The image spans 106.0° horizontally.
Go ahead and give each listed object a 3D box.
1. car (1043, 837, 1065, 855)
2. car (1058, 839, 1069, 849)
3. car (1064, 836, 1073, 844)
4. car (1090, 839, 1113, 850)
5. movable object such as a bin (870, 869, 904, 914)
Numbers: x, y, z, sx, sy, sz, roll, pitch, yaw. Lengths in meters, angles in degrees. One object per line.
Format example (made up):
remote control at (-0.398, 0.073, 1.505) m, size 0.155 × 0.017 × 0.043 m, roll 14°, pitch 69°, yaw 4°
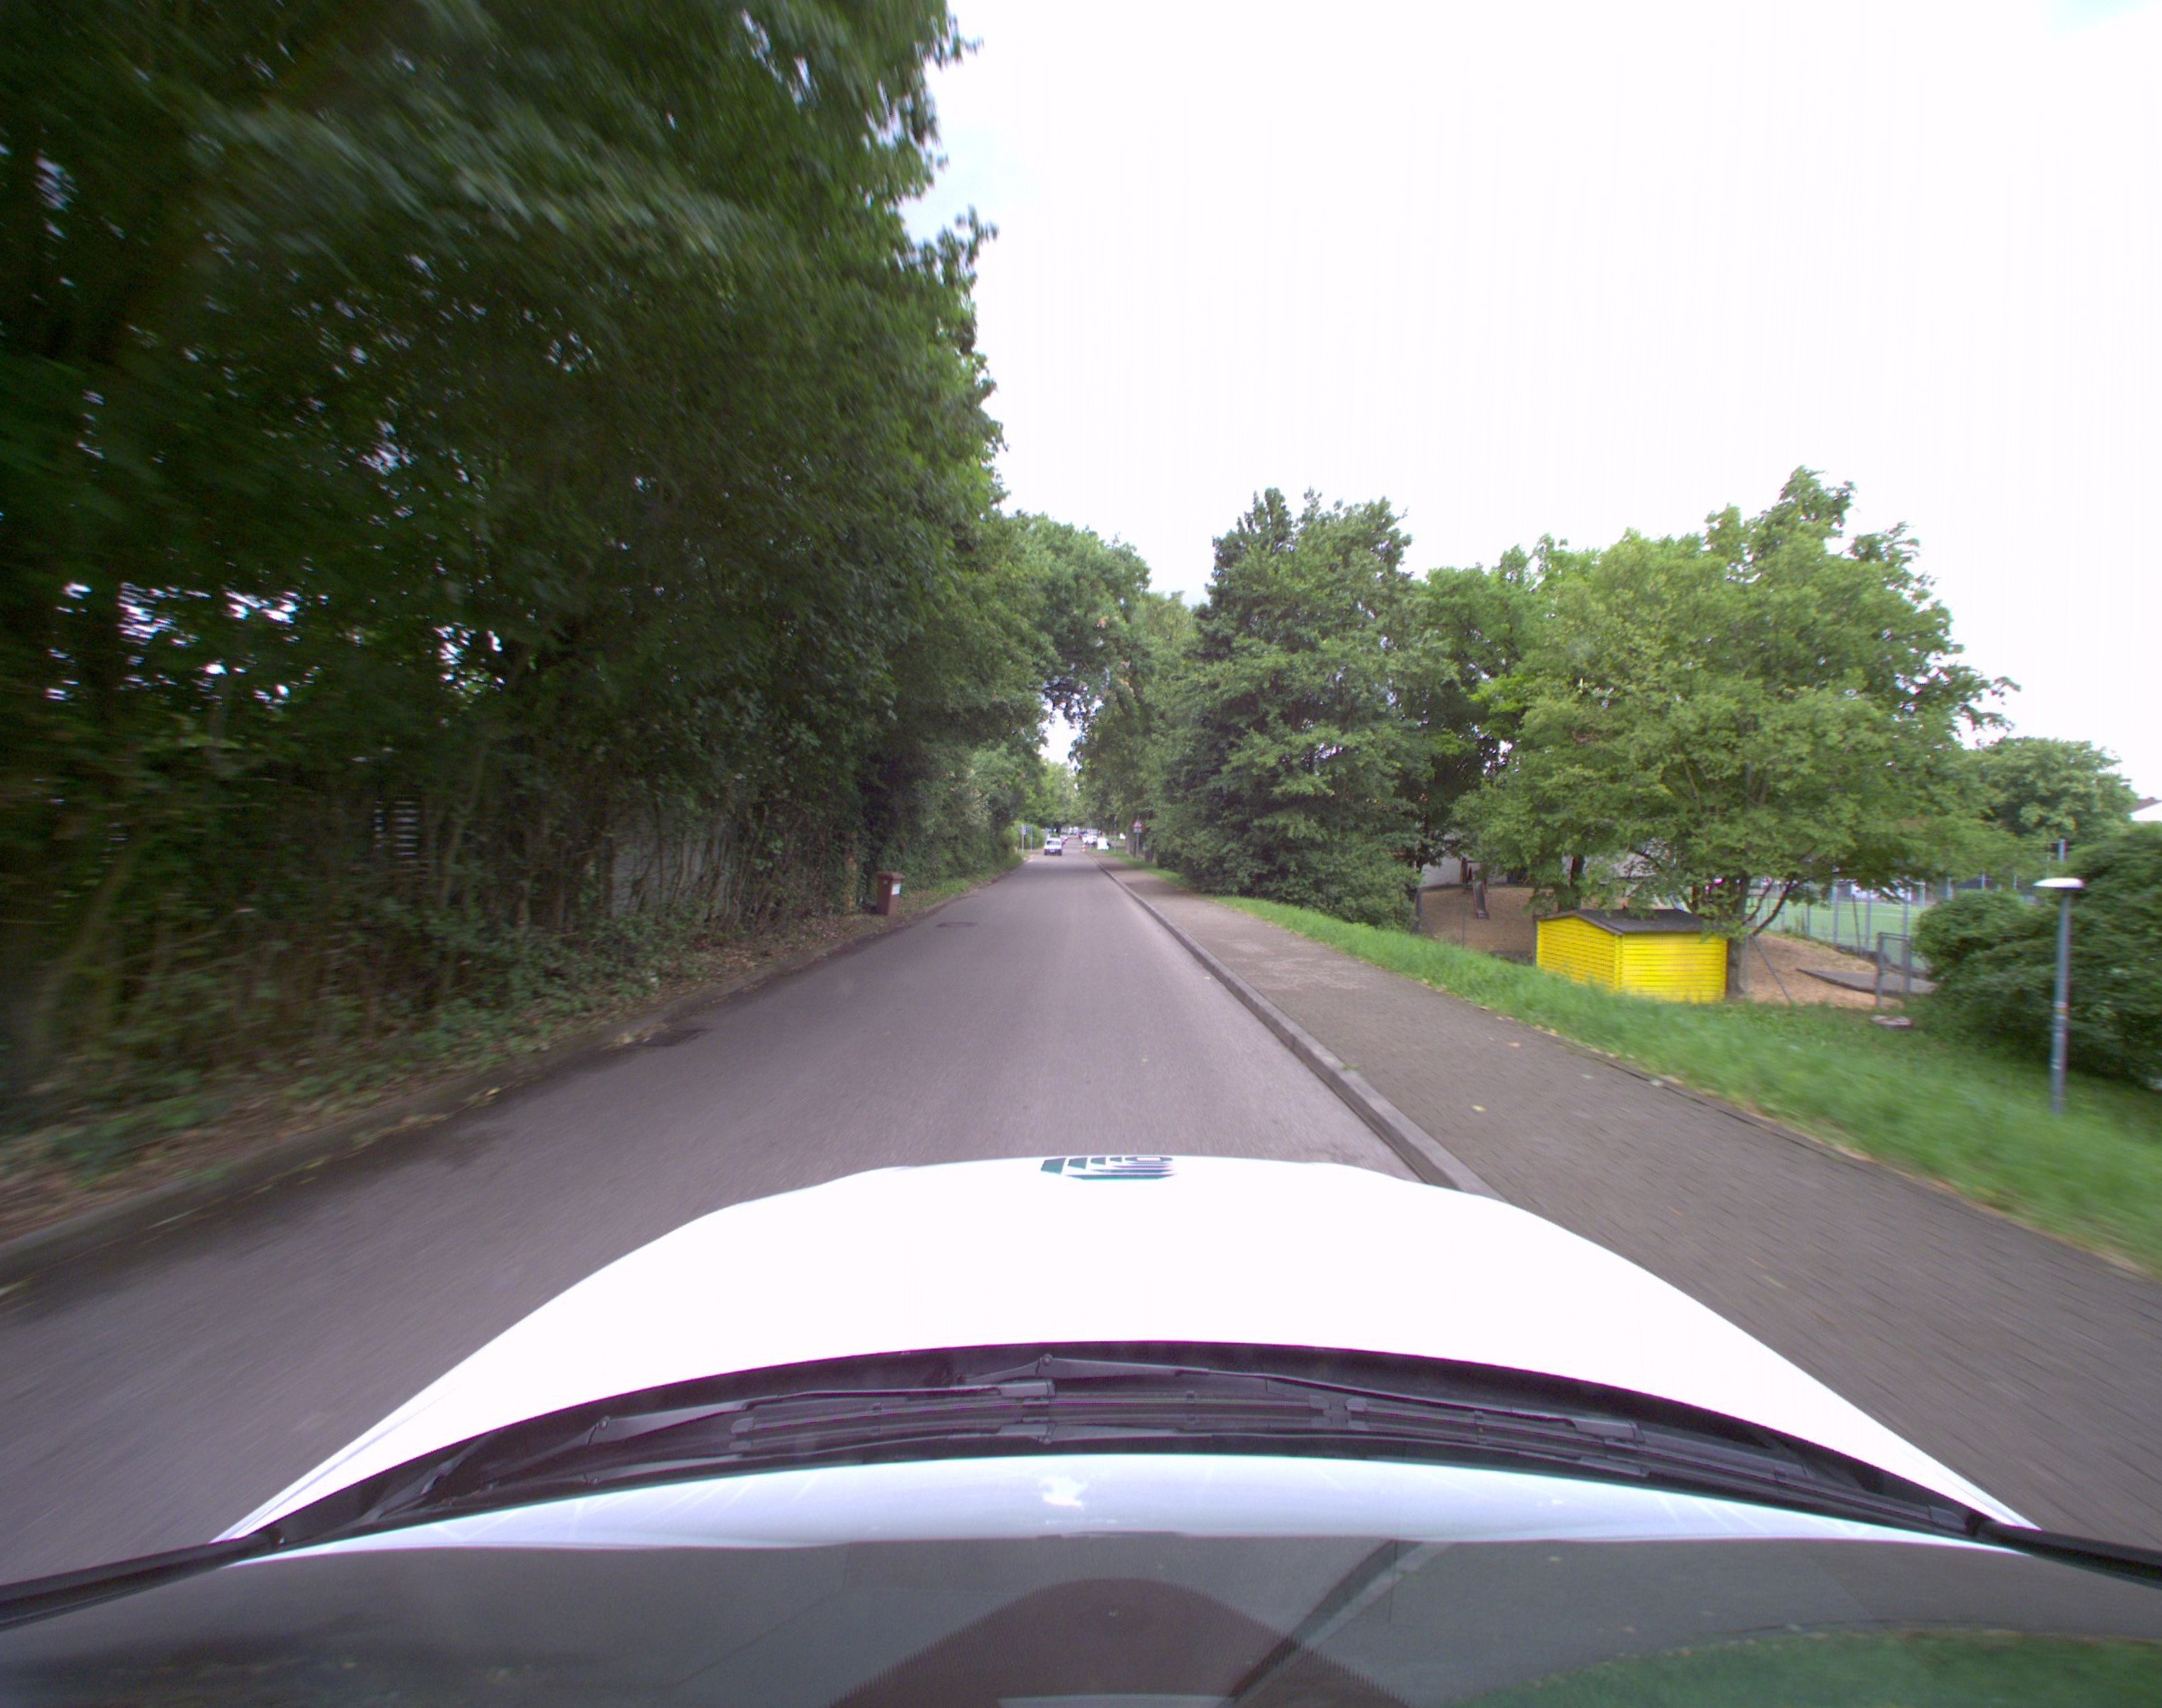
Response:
car at (-2.793, -0.799, 85.239) m, size 1.987 × 1.772 × 4.000 m, roll 1°, pitch -1°, yaw 1°
car at (-3.362, -1.979, 160.355) m, size 1.987 × 1.772 × 4.000 m, roll 1°, pitch -1°, yaw 1°
car at (-3.115, -3.476, 198.606) m, size 1.987 × 1.772 × 4.000 m, roll 1°, pitch -1°, yaw 1°
car at (3.565, -1.709, 140.535) m, size 3.973 × 1.772 × 2.000 m, roll 1°, pitch -1°, yaw 0°
movable object such as a bin at (-4.197, 0.800, 17.637) m, size 0.588 × 0.957 × 0.470 m, roll 1°, pitch -1°, yaw 0°
